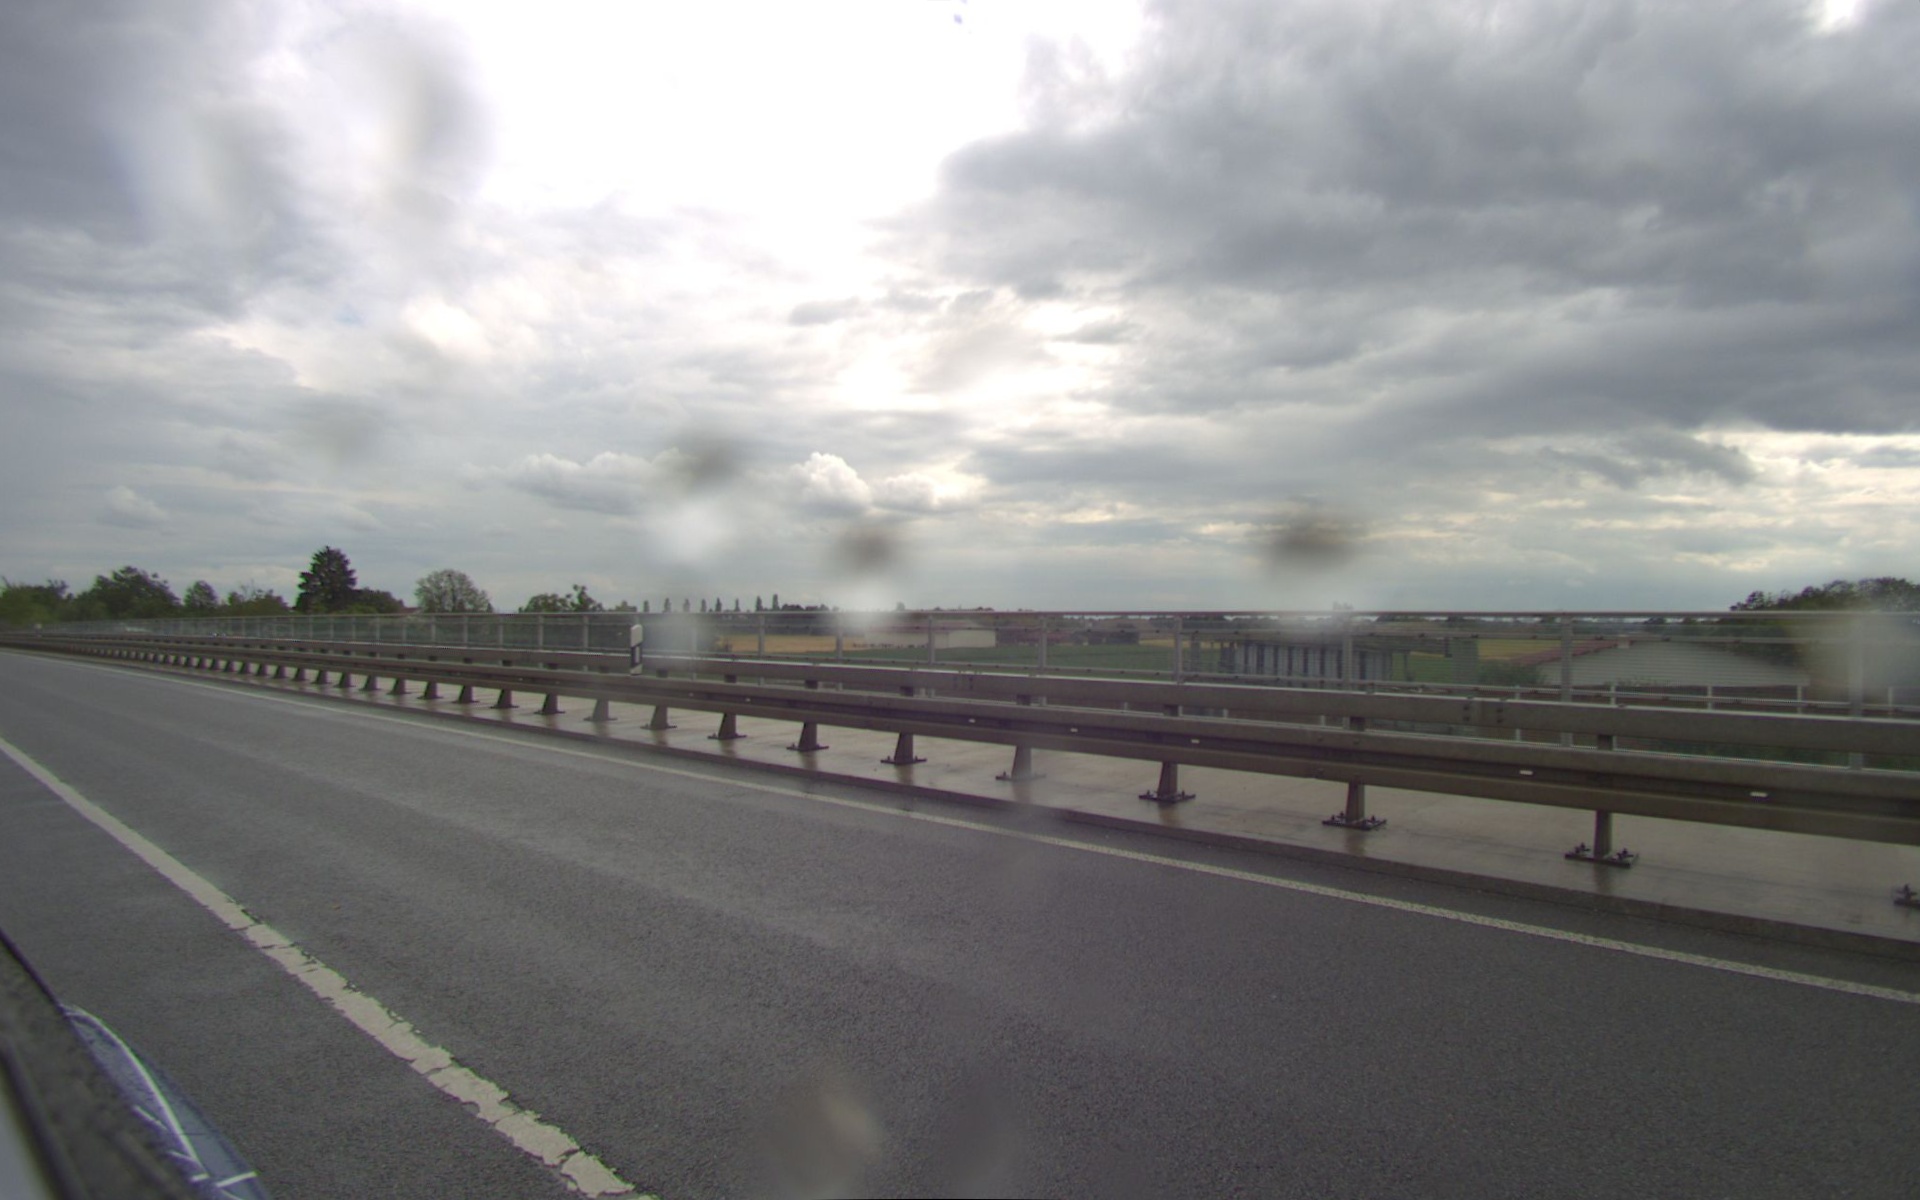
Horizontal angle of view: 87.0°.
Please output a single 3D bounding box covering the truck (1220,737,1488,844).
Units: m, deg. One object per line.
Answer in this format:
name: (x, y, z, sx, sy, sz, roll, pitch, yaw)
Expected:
truck: (17.493, 8.458, 45.306, 11.006, 4.031, 2.438, -1, 0, -2)
